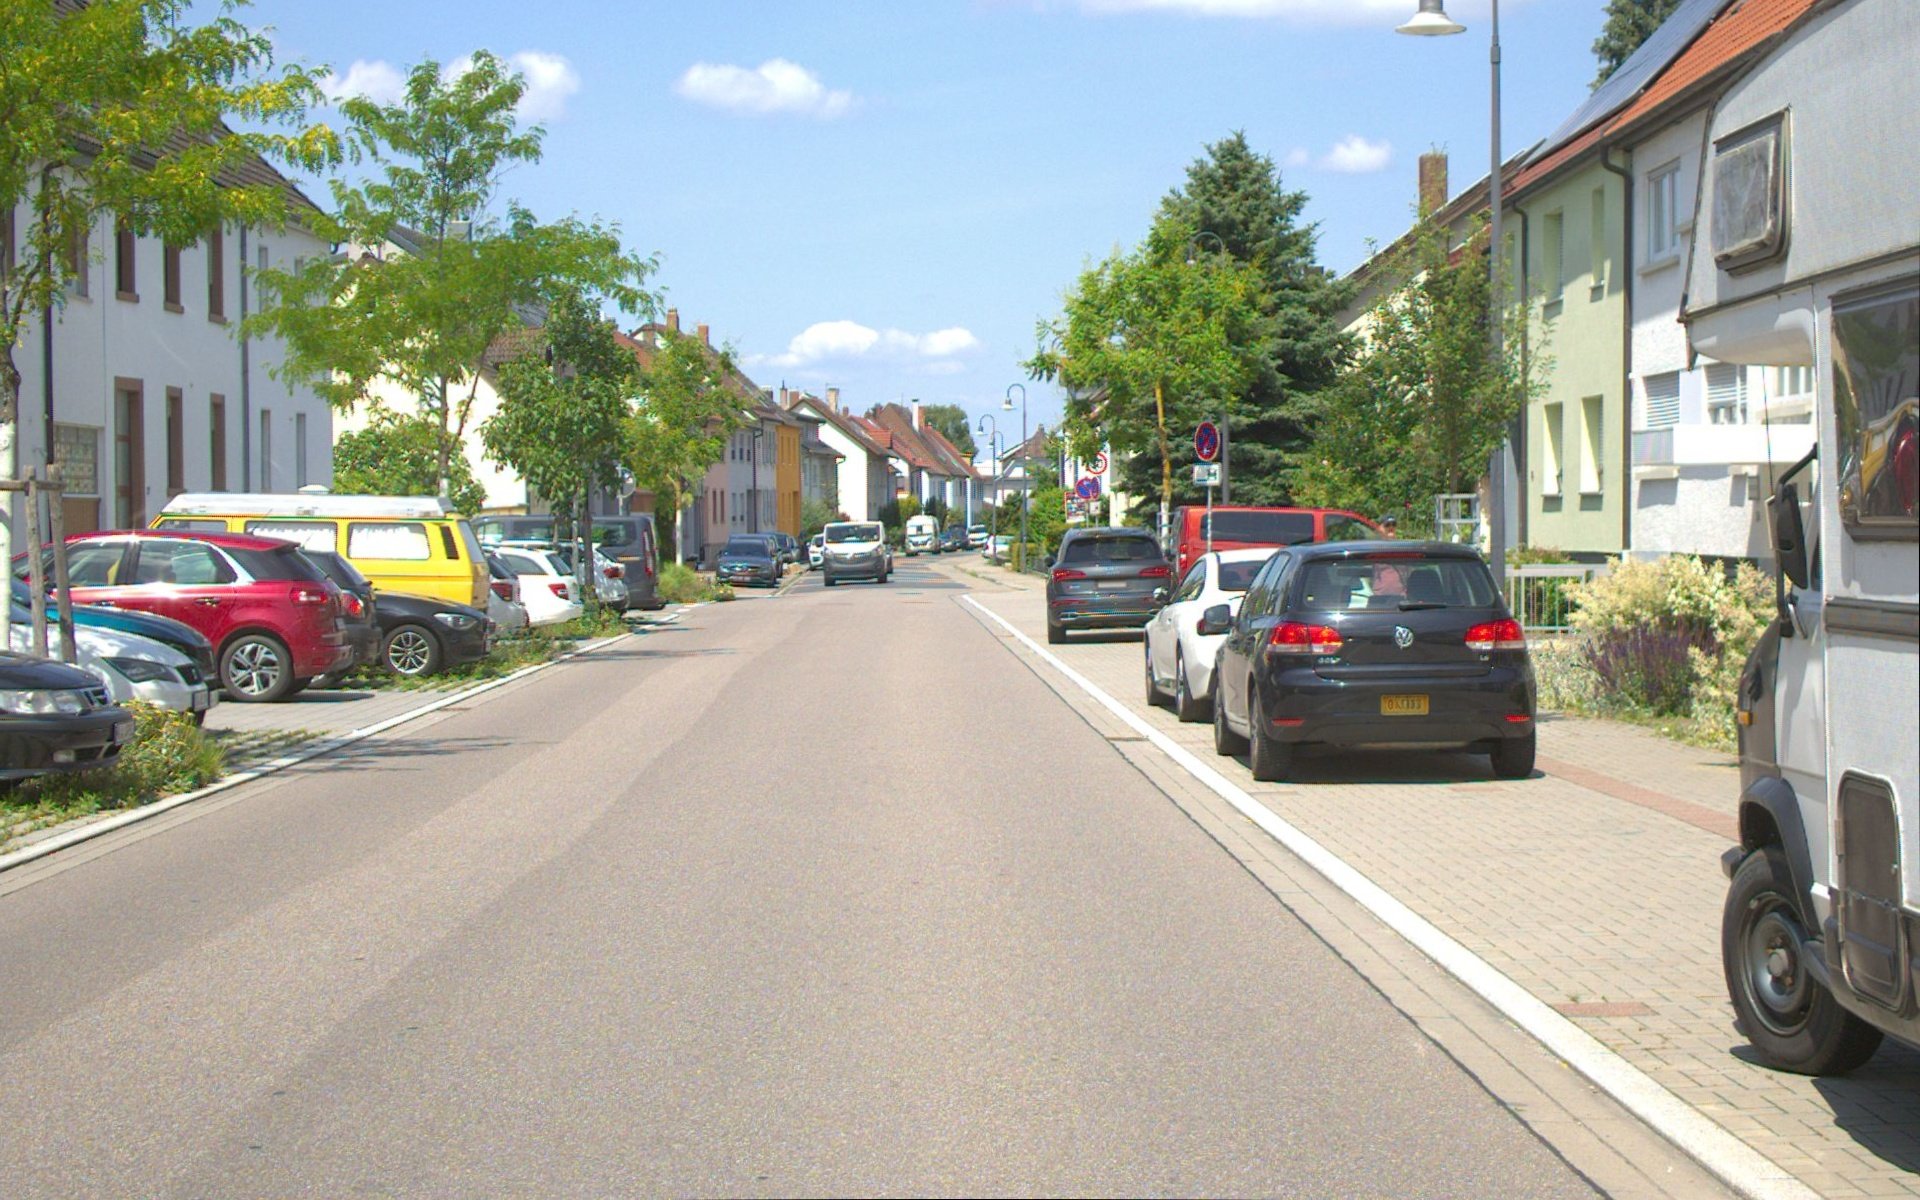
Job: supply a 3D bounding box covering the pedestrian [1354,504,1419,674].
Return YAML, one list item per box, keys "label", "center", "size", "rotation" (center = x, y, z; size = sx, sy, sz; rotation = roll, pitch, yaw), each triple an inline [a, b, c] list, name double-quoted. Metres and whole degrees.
- label: "pedestrian"
  center: [4.434, -0.117, 35.785]
  size: [0.557, 1.743, 0.673]
  rotation: [-1, 0, 0]

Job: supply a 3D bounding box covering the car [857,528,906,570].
- label: "car"
  center: [-3.020, -1.969, 131.330]
  size: [1.762, 1.517, 4.049]
  rotation: [-2, 1, -2]

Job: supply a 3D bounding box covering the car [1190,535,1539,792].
- label: "car"
  center: [2.544, 0.340, 22.493]
  size: [1.767, 1.524, 4.007]
  rotation: [0, 1, -1]

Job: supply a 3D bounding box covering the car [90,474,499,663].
- label: "car"
  center: [-7.883, -0.385, 41.024]
  size: [4.508, 2.170, 1.925]
  rotation: [0, 1, -1]

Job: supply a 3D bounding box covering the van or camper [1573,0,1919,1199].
- label: "van or camper"
  center: [3.191, -0.121, 7.554]
  size: [2.473, 2.800, 5.791]
  rotation: [-2, 1, -1]

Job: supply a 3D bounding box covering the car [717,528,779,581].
- label: "car"
  center: [-6.674, -1.443, 108.286]
  size: [1.816, 1.428, 4.140]
  rotation: [3, 2, -3]

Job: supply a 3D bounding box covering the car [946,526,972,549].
- label: "car"
  center: [-0.083, -4.664, 256.606]
  size: [1.691, 1.654, 3.771]
  rotation: [1, 0, 3]

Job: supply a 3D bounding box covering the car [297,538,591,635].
- label: "car"
  center: [-8.002, -0.214, 53.584]
  size: [4.295, 1.463, 1.774]
  rotation: [0, 0, 1]

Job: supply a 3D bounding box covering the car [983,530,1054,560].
- label: "car"
  center: [2.943, -2.779, 173.093]
  size: [3.523, 1.459, 1.628]
  rotation: [1, 0, 0]

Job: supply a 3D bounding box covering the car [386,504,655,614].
- label: "car"
  center: [-8.040, -0.758, 63.182]
  size: [4.699, 1.916, 1.938]
  rotation: [1, 0, -1]

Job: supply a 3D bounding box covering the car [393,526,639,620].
- label: "car"
  center: [-7.767, -0.469, 60.465]
  size: [4.182, 1.563, 1.774]
  rotation: [1, 0, -4]

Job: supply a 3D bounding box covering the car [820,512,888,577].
- label: "car"
  center: [-3.280, -1.703, 106.479]
  size: [2.022, 1.943, 4.899]
  rotation: [-1, 1, -2]

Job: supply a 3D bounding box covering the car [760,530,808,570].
- label: "car"
  center: [-7.346, -2.097, 143.903]
  size: [1.810, 1.603, 4.000]
  rotation: [2, 1, 0]

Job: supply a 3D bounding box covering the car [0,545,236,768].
- label: "car"
  center: [-7.200, 0.358, 23.788]
  size: [4.053, 1.473, 1.776]
  rotation: [0, 1, -3]

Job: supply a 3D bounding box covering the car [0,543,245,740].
- label: "car"
  center: [-7.904, 0.290, 26.728]
  size: [4.403, 1.473, 1.776]
  rotation: [0, 1, -4]

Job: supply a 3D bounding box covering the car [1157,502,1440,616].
- label: "car"
  center: [5.813, -0.700, 59.423]
  size: [4.618, 1.887, 2.021]
  rotation: [1, 0, -2]

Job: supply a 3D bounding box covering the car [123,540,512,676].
- label: "car"
  center: [-7.094, 0.073, 38.242]
  size: [4.009, 1.454, 1.755]
  rotation: [0, 1, -1]

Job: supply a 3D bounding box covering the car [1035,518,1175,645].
- label: "car"
  center: [2.051, -0.309, 49.614]
  size: [1.864, 1.630, 4.446]
  rotation: [-3, 2, 1]

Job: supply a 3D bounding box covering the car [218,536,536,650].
- label: "car"
  center: [-7.705, -0.102, 45.572]
  size: [4.071, 1.463, 1.754]
  rotation: [0, 1, -9]

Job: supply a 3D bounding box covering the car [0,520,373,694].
- label: "car"
  center: [-7.931, 0.043, 33.128]
  size: [4.253, 1.606, 1.843]
  rotation: [0, 1, -1]

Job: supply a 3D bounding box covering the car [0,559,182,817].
- label: "car"
  center: [-6.994, 0.467, 20.030]
  size: [4.524, 1.420, 1.796]
  rotation: [0, 1, -1]

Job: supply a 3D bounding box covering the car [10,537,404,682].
- label: "car"
  center: [-7.821, 0.082, 35.948]
  size: [3.791, 1.454, 1.755]
  rotation: [0, 1, -3]

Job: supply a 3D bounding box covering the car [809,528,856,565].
- label: "car"
  center: [-5.826, -2.453, 157.203]
  size: [1.850, 1.653, 4.000]
  rotation: [2, 1, 2]

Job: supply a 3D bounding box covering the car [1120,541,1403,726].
- label: "car"
  center: [2.517, 0.228, 29.709]
  size: [1.832, 1.460, 4.520]
  rotation: [0, 1, -3]

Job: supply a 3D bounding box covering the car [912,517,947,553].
- label: "car"
  center: [-2.004, -4.303, 227.013]
  size: [2.045, 2.304, 3.771]
  rotation: [1, 0, 3]

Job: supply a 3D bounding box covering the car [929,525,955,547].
- label: "car"
  center: [-1.298, -4.613, 249.126]
  size: [1.691, 1.498, 3.771]
  rotation: [1, 0, 3]
